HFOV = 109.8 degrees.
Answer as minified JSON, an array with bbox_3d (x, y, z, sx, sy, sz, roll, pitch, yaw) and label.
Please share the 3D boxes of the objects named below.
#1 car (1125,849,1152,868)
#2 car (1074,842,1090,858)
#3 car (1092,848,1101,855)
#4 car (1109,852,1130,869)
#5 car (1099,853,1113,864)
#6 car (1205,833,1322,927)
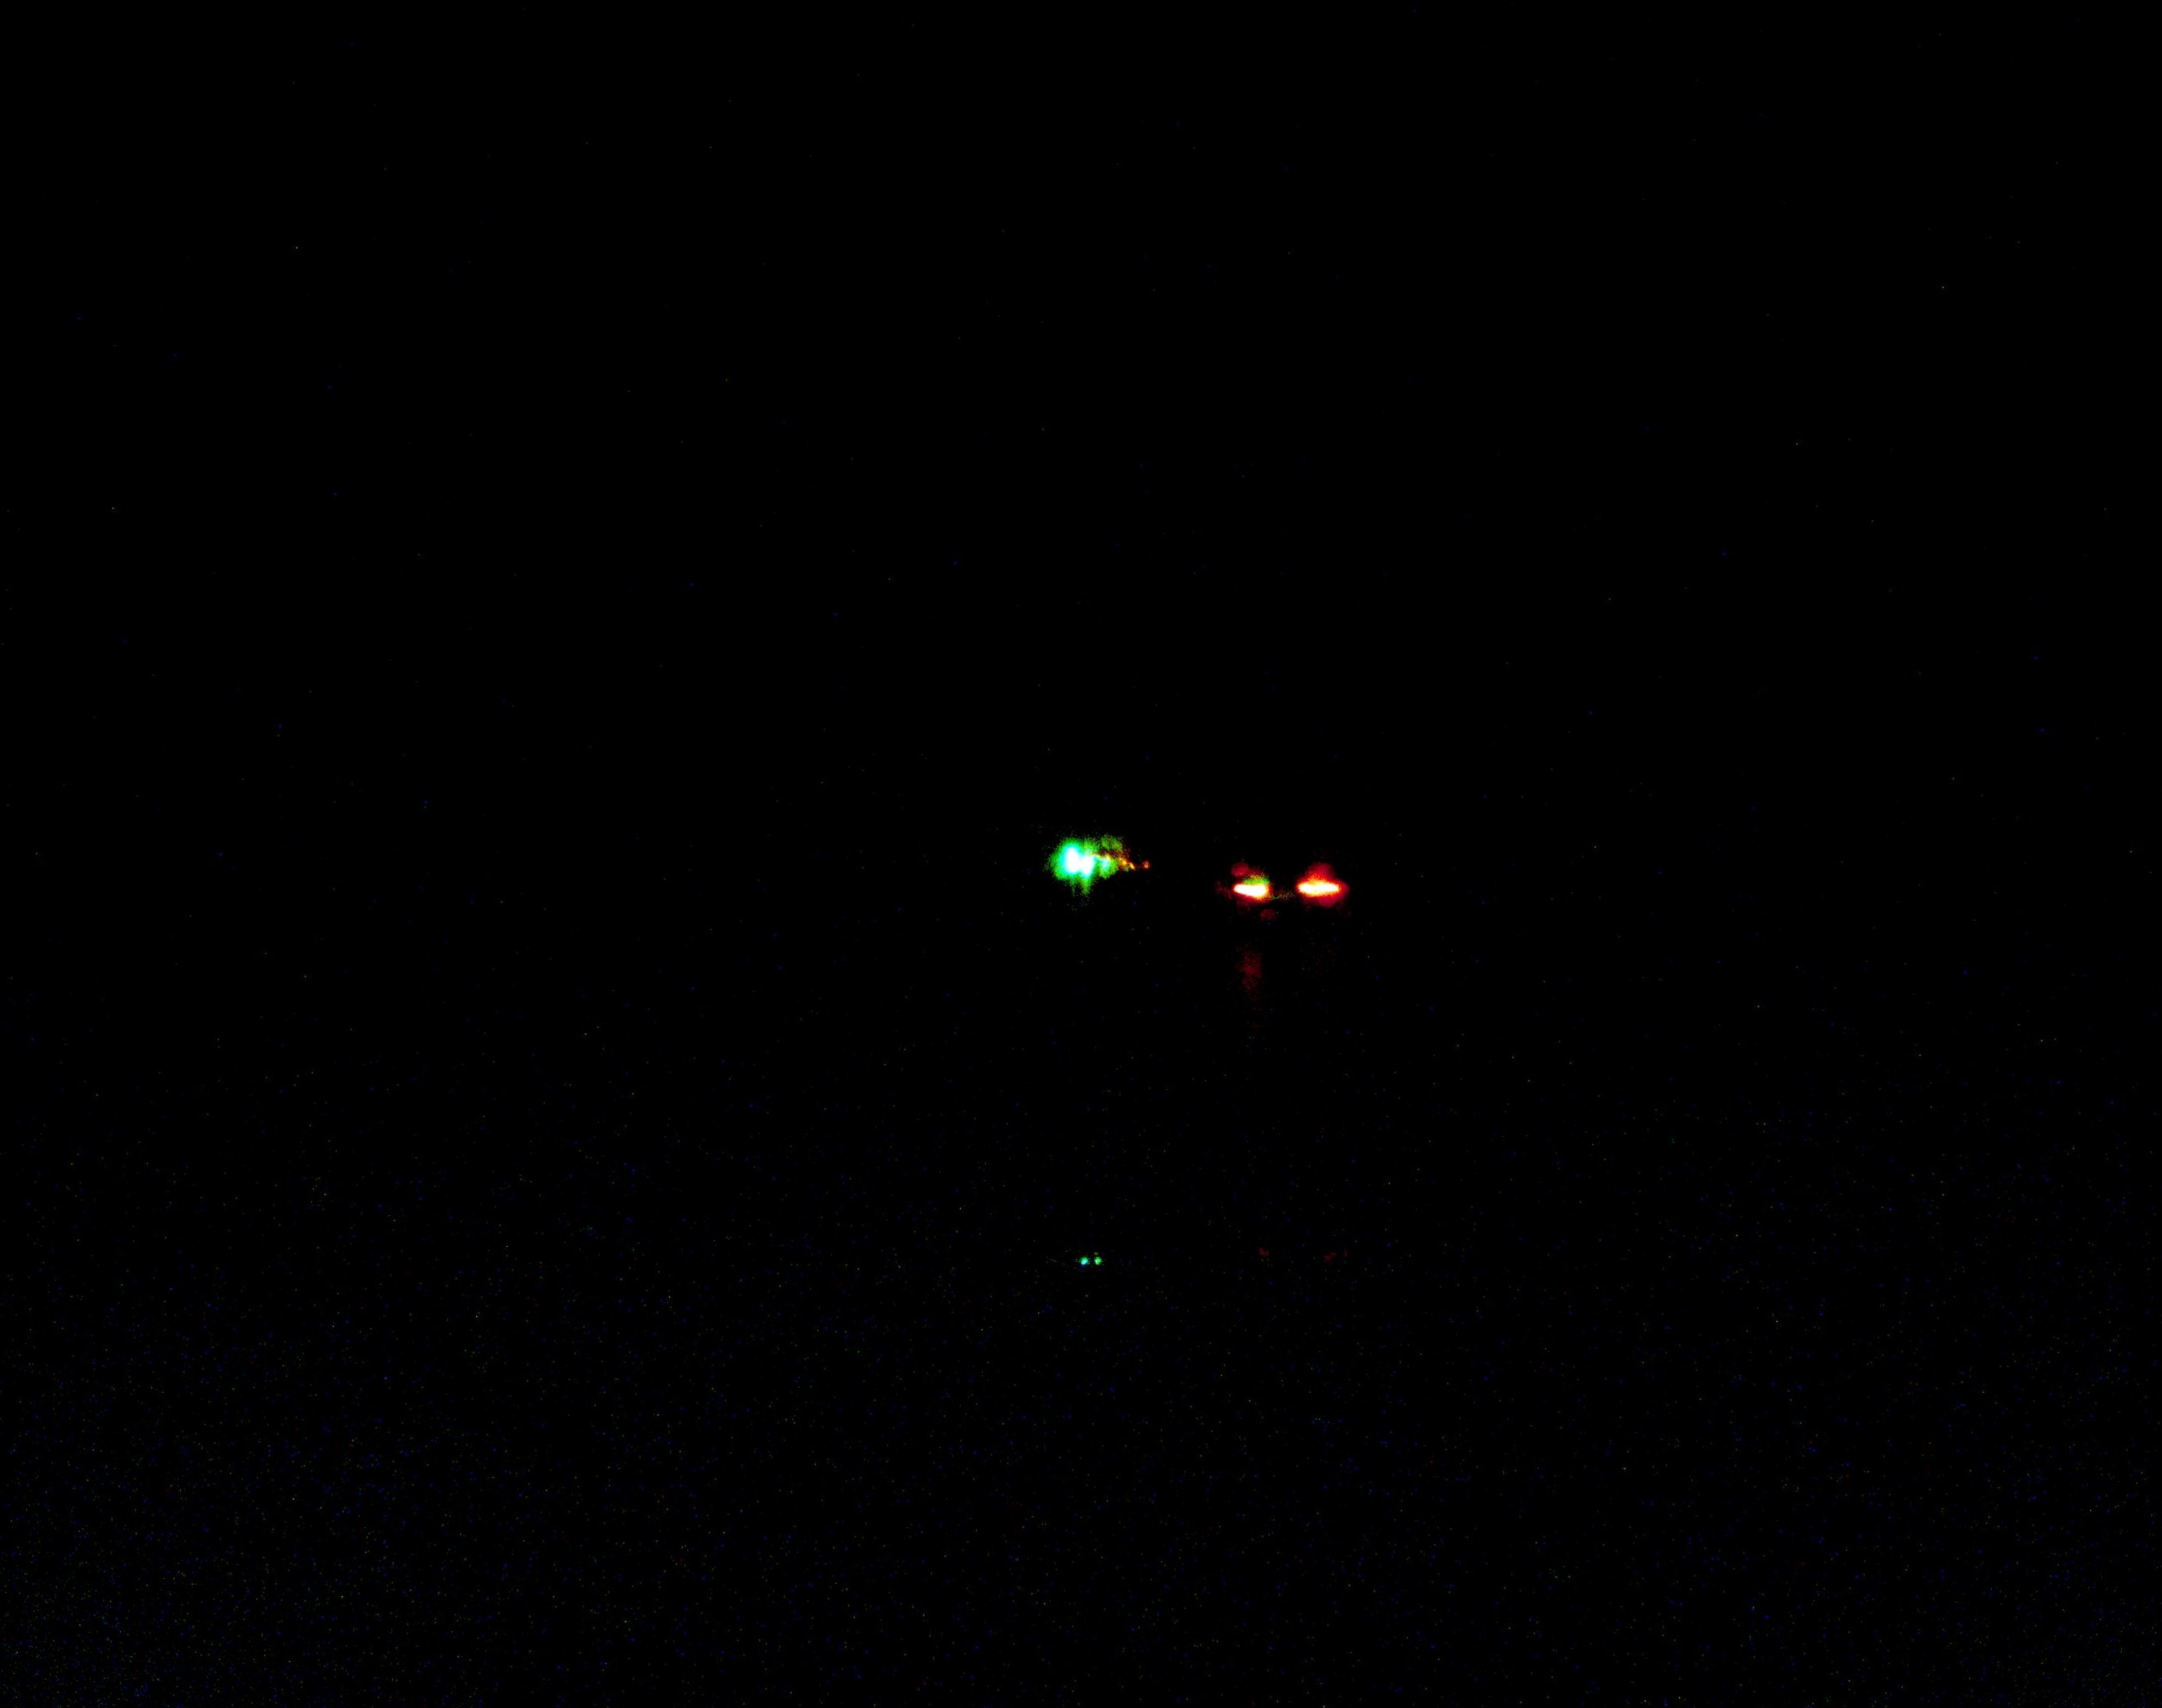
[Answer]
[{"bbox_3d":[4.469,0.313,59.375,1.824,1.433,3.999,0,1,0],"label":"car"},{"bbox_3d":[0.114,-0.533,96.229,1.998,2.002,3.999,1,1,0],"label":"car"},{"bbox_3d":[3.743,-0.674,182.413,1.999,1.540,3.999,-1,0,0],"label":"car"},{"bbox_3d":[4.035,0.659,80.088,1.998,1.652,3.999,0,1,0],"label":"car"},{"bbox_3d":[3.837,0.625,118.618,1.998,1.651,4.000,-1,0,0],"label":"car"},{"bbox_3d":[4.052,0.496,17.513,1.808,1.917,3.999,0,1,1],"label":"car"}]
